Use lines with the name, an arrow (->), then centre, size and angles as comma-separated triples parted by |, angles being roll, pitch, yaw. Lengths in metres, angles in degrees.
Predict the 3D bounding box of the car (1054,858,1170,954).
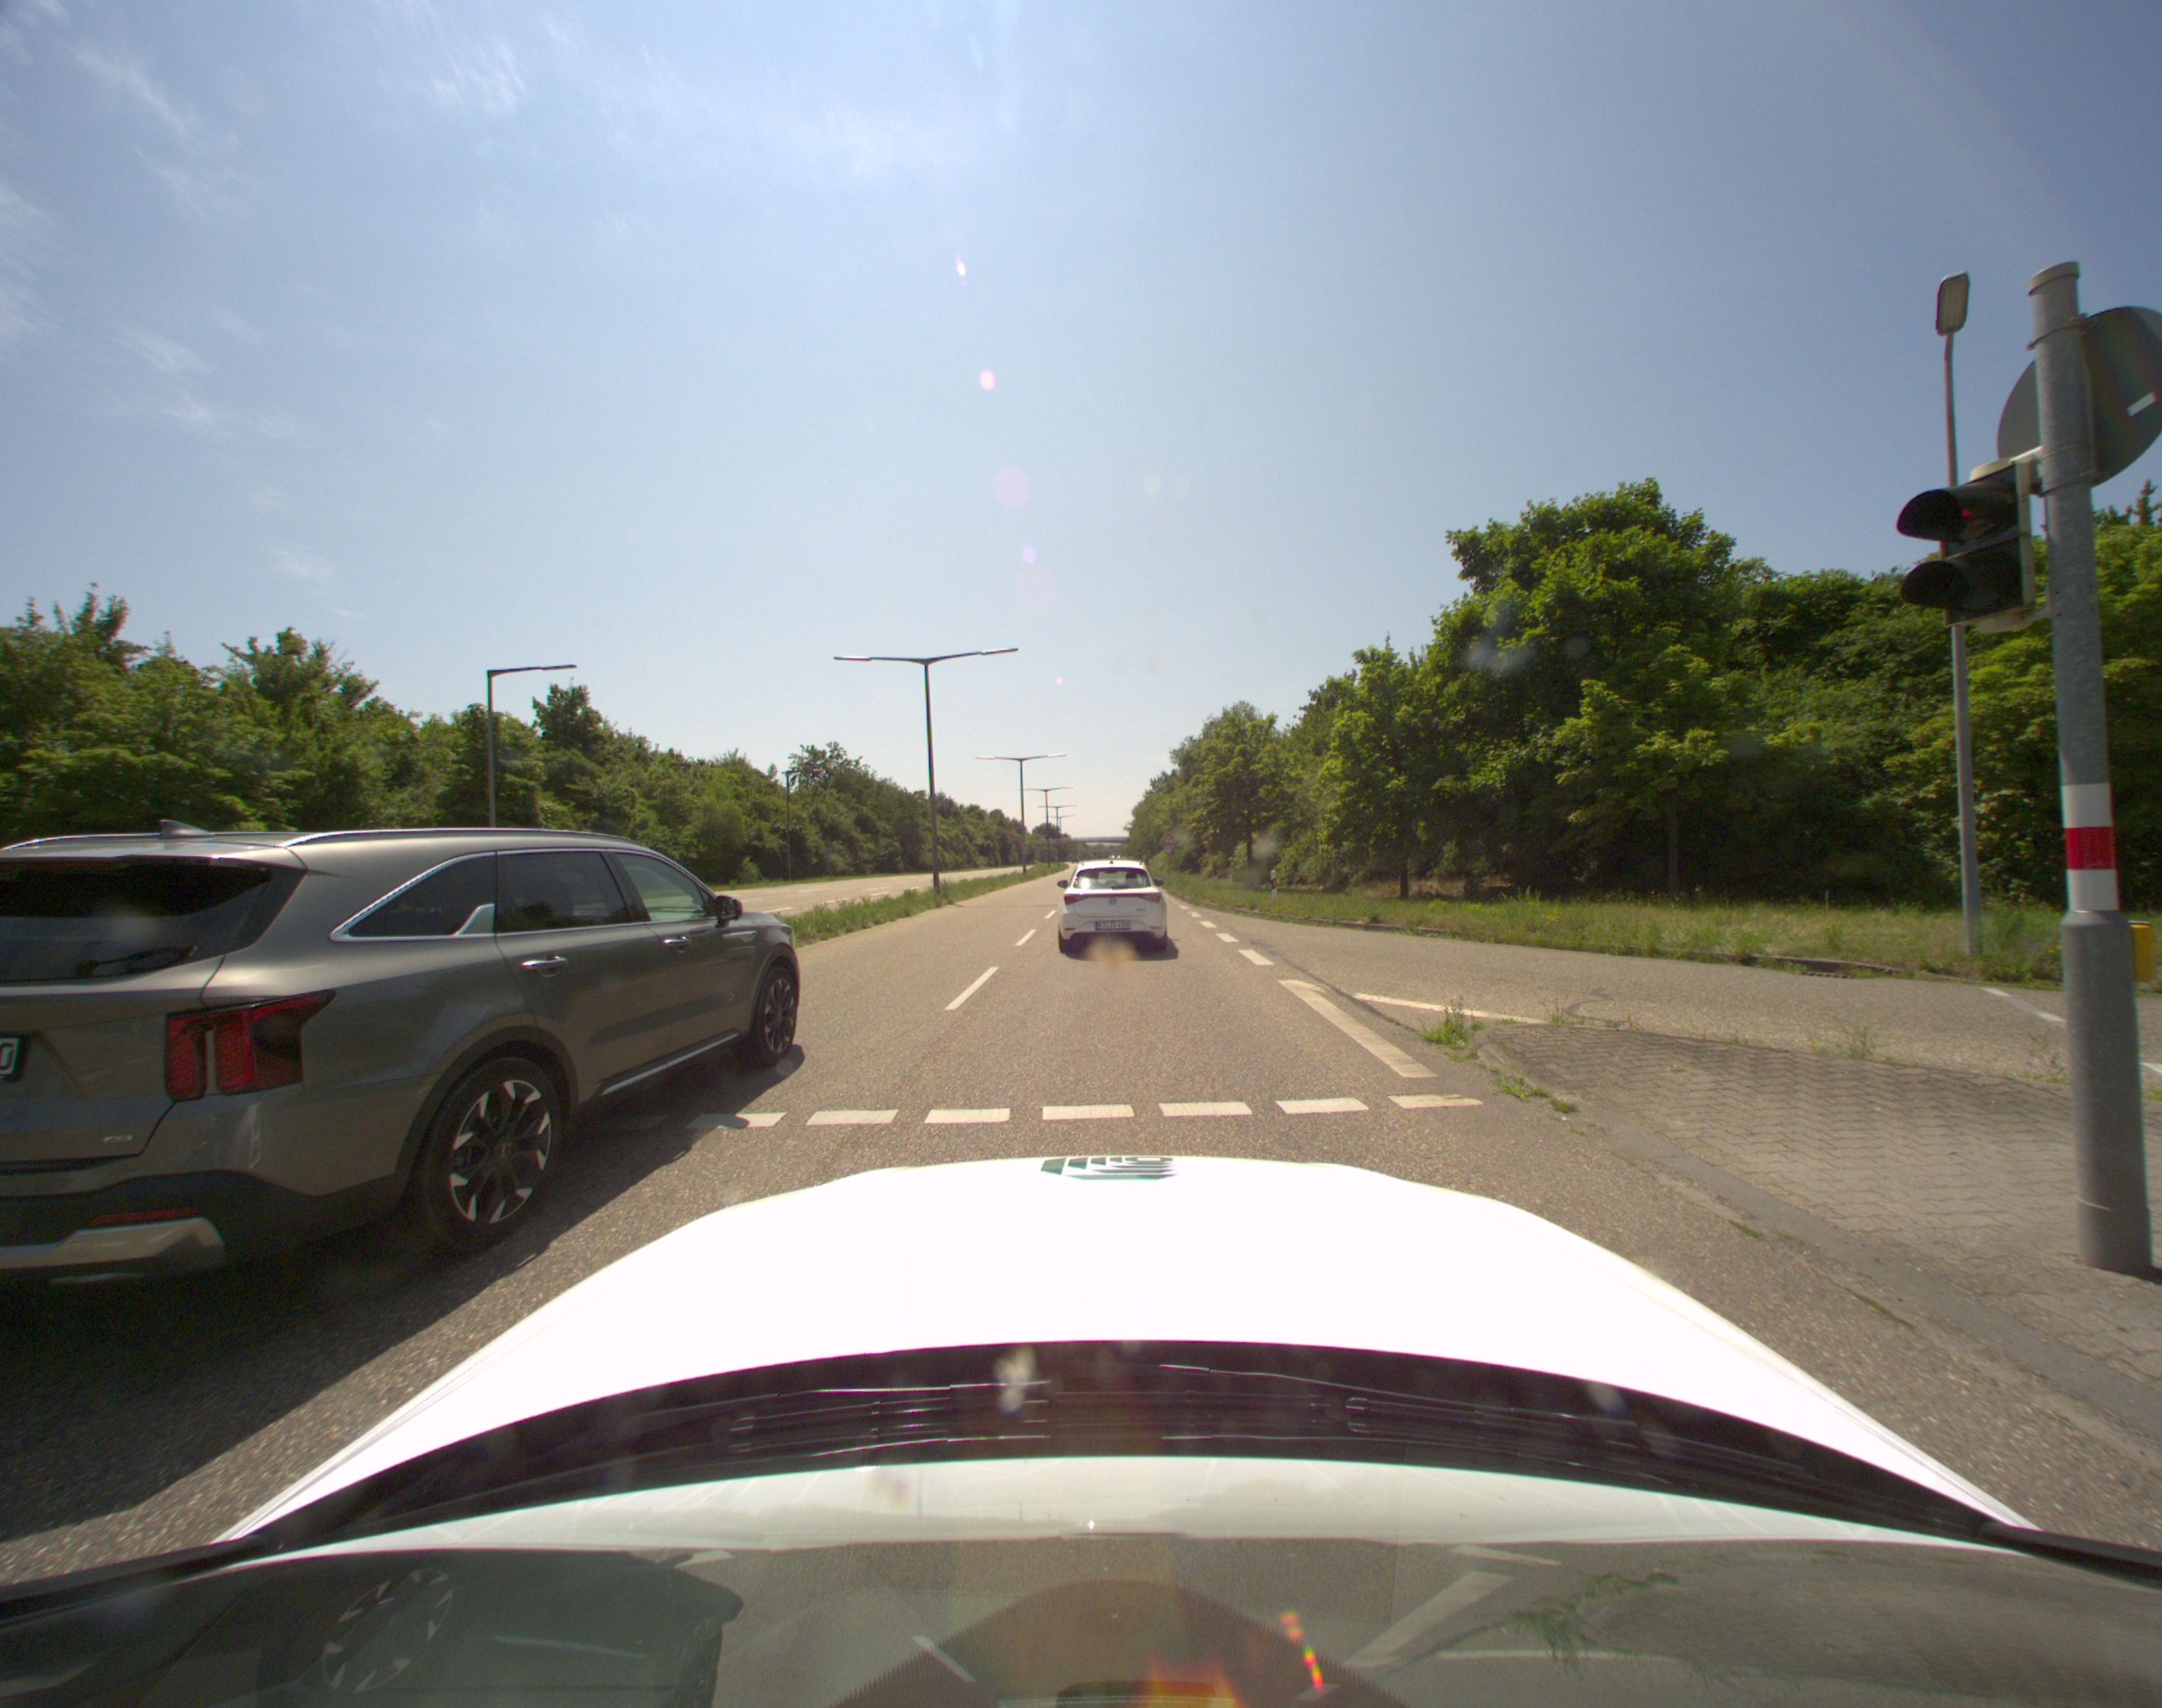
car -> 0.545, 0.797, 13.944 | 1.727, 1.428, 3.697 | 0, -1, 3

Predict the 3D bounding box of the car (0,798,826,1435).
car -> -3.152, 0.721, 4.483 | 1.796, 1.662, 4.647 | -2, 0, 3

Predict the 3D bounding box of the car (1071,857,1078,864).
car -> -1.800, 1.888, 236.299 | 1.849, 1.709, 3.999 | -2, 0, 0
